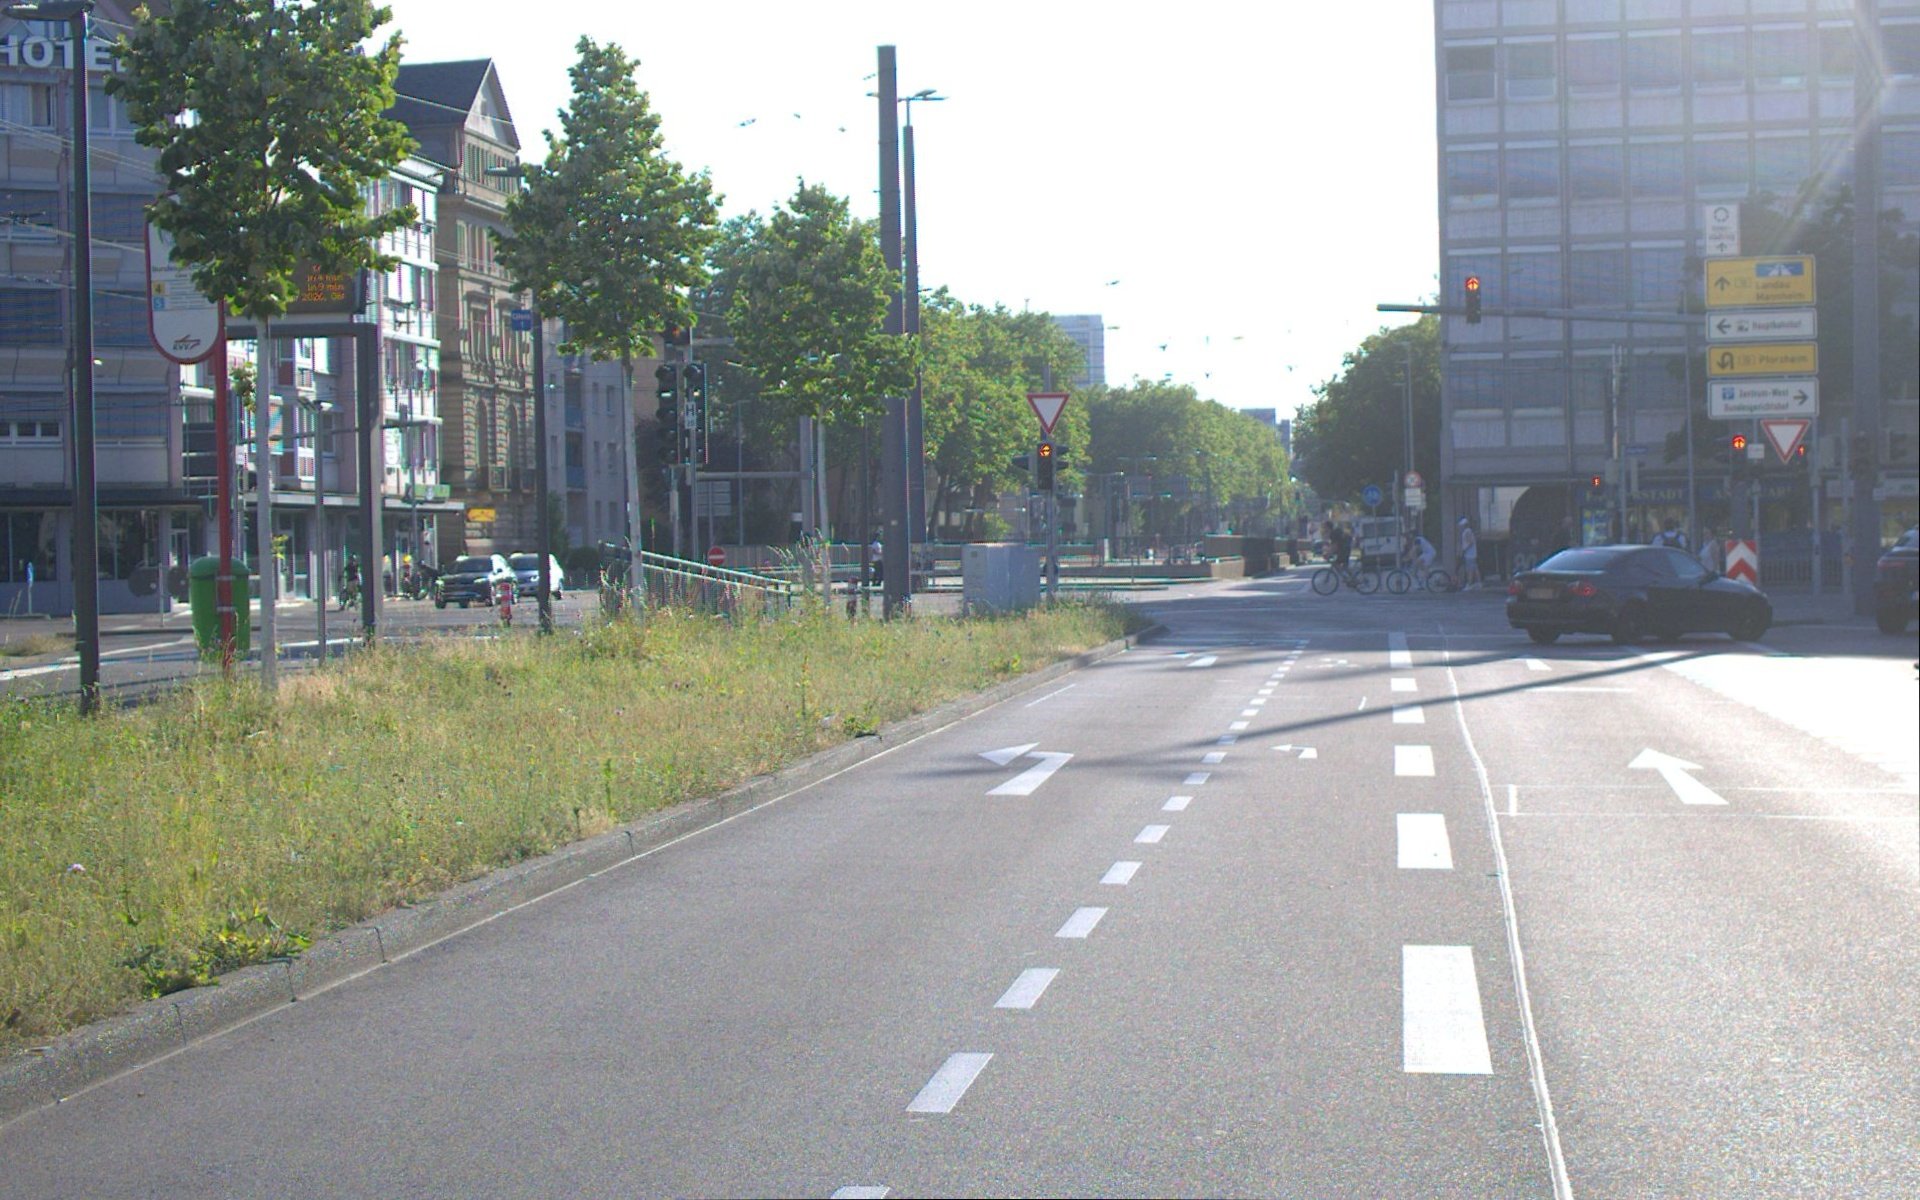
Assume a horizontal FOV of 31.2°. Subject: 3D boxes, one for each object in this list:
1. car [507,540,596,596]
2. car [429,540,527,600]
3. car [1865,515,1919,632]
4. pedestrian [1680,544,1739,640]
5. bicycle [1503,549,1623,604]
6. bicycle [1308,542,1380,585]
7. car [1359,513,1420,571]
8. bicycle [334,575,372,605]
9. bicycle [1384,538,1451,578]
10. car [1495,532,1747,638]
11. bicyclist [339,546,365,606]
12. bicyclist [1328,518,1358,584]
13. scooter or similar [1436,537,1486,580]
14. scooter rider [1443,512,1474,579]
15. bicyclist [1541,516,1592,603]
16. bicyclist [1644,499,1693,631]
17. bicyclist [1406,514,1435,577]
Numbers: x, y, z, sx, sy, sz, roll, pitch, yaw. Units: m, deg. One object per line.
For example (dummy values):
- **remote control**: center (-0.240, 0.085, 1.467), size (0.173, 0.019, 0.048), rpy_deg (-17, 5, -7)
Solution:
- **car**: center (-14.230, -1.125, 119.958), size (1.994, 1.853, 3.999), rpy_deg (-1, 1, 9)
- **car**: center (-15.694, -1.000, 112.113), size (1.994, 1.853, 3.999), rpy_deg (-1, 1, 9)
- **car**: center (15.398, -0.436, 52.949), size (1.996, 1.687, 3.994), rpy_deg (1, 3, 27)
- **pedestrian**: center (12.640, -0.146, 57.994), size (0.878, 1.592, 0.655), rpy_deg (-1, 1, 7)
- **bicycle**: center (11.549, -0.445, 65.844), size (2.227, 1.023, 0.682), rpy_deg (0, 1, 11)
- **bicycle**: center (10.016, -0.945, 89.676), size (1.775, 1.068, 0.535), rpy_deg (-1, 1, -2)
- **car**: center (18.820, -2.524, 150.944), size (2.486, 2.384, 5.933), rpy_deg (-3, 0, 7)
- **bicycle**: center (-19.093, -0.314, 108.108), size (0.598, 0.912, 1.835), rpy_deg (-1, 1, 9)
- **bicycle**: center (12.561, -1.146, 94.383), size (1.732, 1.056, 0.539), rpy_deg (-1, 1, -2)
- **car**: center (9.446, -0.242, 48.933), size (1.748, 1.421, 3.991), rpy_deg (0, 1, 41)
- **bicyclist**: center (-19.108, -0.762, 108.012), size (0.593, 1.855, 0.642), rpy_deg (-1, 1, 9)
- **bicyclist**: center (9.978, -1.280, 89.668), size (0.663, 1.706, 0.538), rpy_deg (-1, 1, -2)
- **scooter or similar**: center (12.915, -1.072, 88.702), size (1.171, 1.068, 0.530), rpy_deg (-1, 1, -2)
- **scooter rider**: center (12.869, -1.396, 88.700), size (0.663, 1.706, 0.526), rpy_deg (-1, 1, -2)
- **bicyclist**: center (11.614, -0.775, 65.826), size (0.959, 1.656, 0.691), rpy_deg (0, 1, 10)
- **bicyclist**: center (10.988, -0.552, 53.351), size (0.644, 2.006, 1.067), rpy_deg (1, 3, 8)
- **bicyclist**: center (12.636, -1.486, 94.381), size (0.663, 1.706, 0.538), rpy_deg (-1, 1, -2)
